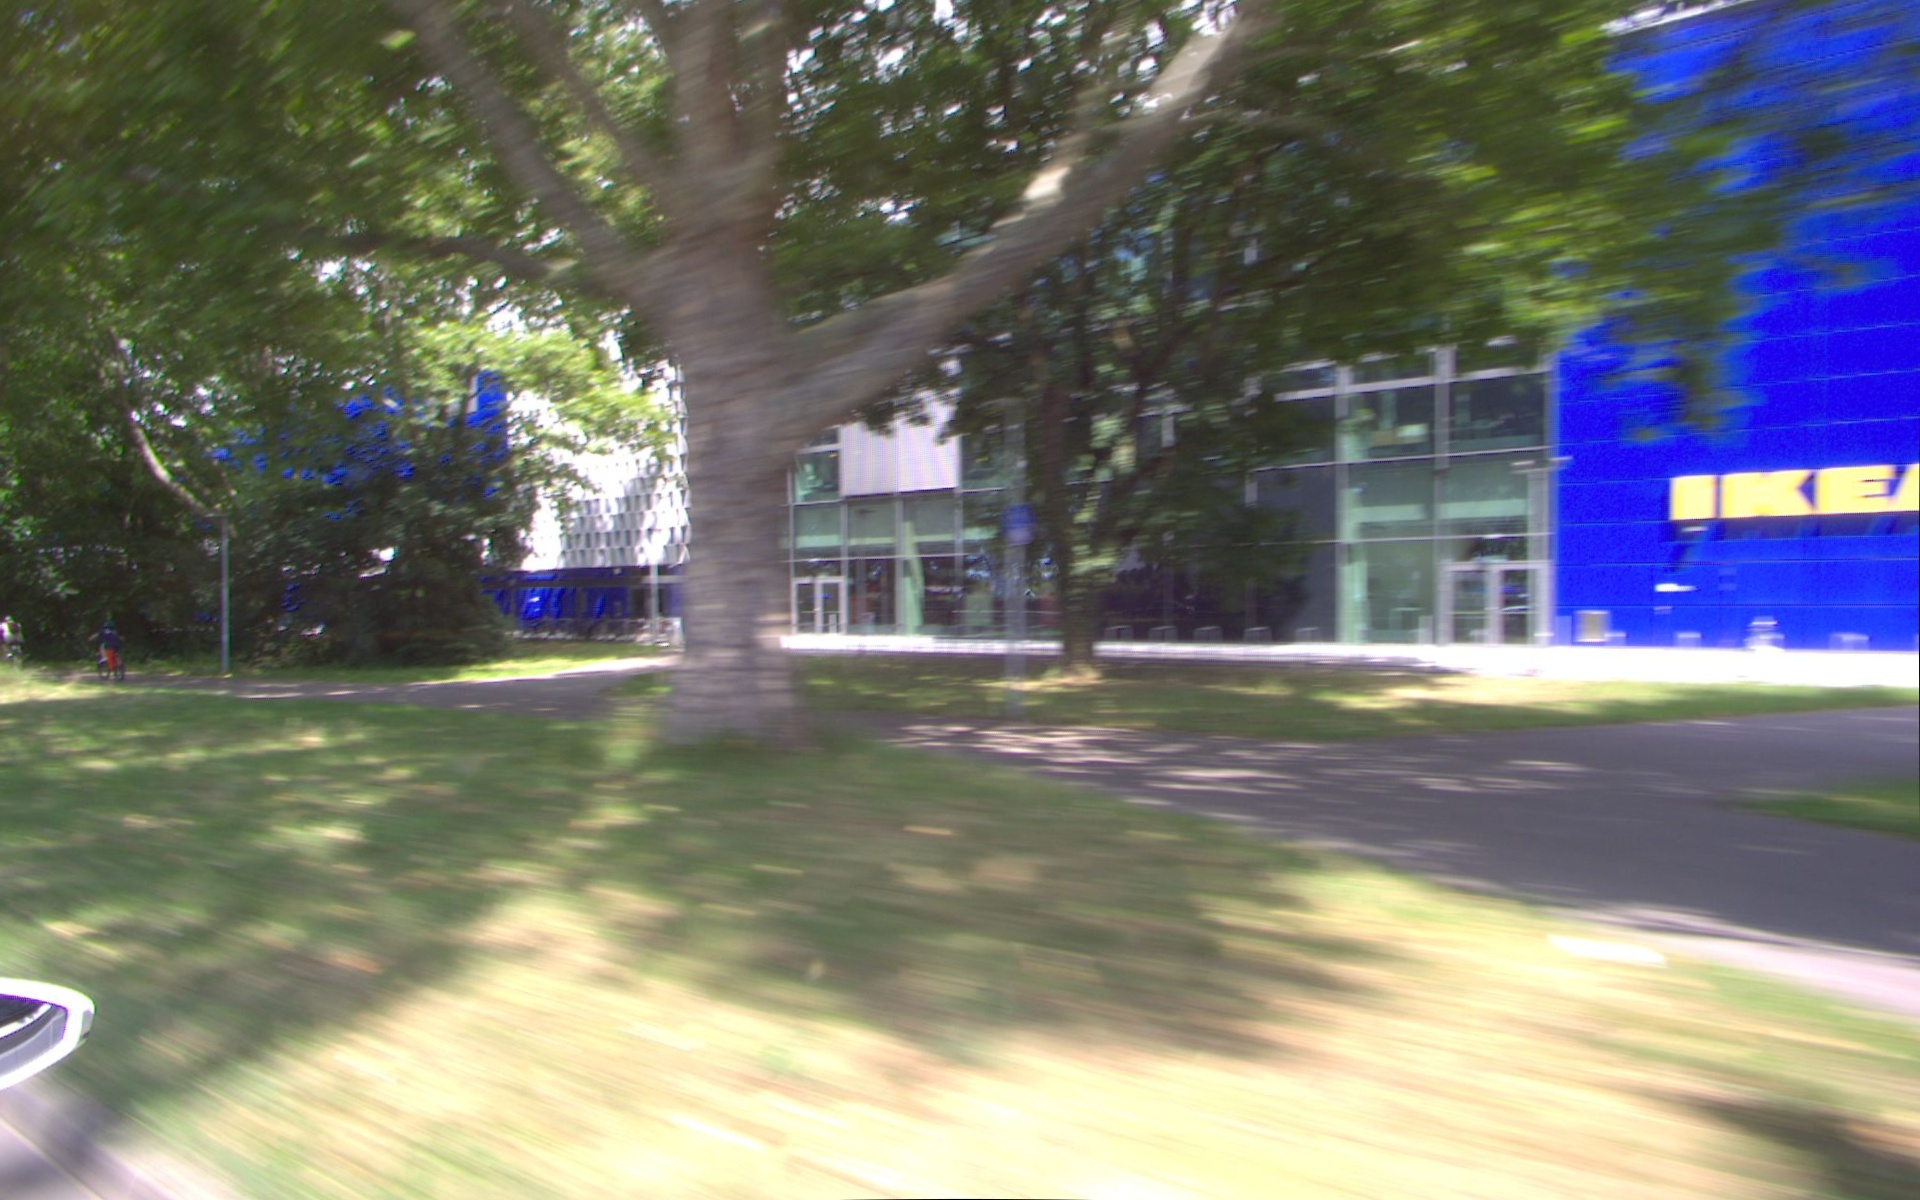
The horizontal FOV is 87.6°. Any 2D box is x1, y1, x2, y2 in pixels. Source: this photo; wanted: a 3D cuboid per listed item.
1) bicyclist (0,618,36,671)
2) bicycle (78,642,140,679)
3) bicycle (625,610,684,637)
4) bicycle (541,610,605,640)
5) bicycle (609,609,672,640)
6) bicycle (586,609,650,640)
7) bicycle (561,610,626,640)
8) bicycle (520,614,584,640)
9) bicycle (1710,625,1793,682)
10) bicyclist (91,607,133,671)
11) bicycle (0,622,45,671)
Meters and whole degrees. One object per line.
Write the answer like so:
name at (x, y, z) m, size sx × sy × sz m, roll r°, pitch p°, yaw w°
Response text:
bicyclist at (-29.109, 1.360, 30.888) m, size 1.038 × 1.620 × 0.657 m, roll -1°, pitch 0°, yaw 33°
bicycle at (-22.138, 1.550, 26.041) m, size 1.994 × 0.898 × 0.644 m, roll -1°, pitch 0°, yaw 32°
bicycle at (-11.496, 0.886, 37.773) m, size 0.747 × 0.973 × 2.314 m, roll 0°, pitch 0°, yaw 28°
bicycle at (-15.473, 0.989, 40.099) m, size 0.747 × 1.125 × 2.543 m, roll 0°, pitch 0°, yaw 27°
bicycle at (-12.293, 0.920, 38.610) m, size 0.747 × 1.125 × 2.543 m, roll 0°, pitch 0°, yaw 27°
bicycle at (-13.302, 0.939, 39.007) m, size 0.747 × 1.125 × 2.543 m, roll 0°, pitch 0°, yaw 27°
bicycle at (-14.371, 0.957, 39.341) m, size 0.747 × 1.125 × 2.543 m, roll 0°, pitch 0°, yaw 27°
bicycle at (-16.558, 1.088, 40.724) m, size 0.747 × 0.983 × 2.543 m, roll 0°, pitch 0°, yaw 27°
bicycle at (14.626, 0.960, 18.555) m, size 0.855 × 0.981 × 2.058 m, roll 0°, pitch -1°, yaw 28°
bicyclist at (-22.032, 1.001, 26.011) m, size 0.805 × 1.631 × 0.621 m, roll 0°, pitch 0°, yaw 33°
bicycle at (-29.101, 1.413, 30.871) m, size 2.623 × 1.439 × 0.609 m, roll -1°, pitch 1°, yaw 32°
